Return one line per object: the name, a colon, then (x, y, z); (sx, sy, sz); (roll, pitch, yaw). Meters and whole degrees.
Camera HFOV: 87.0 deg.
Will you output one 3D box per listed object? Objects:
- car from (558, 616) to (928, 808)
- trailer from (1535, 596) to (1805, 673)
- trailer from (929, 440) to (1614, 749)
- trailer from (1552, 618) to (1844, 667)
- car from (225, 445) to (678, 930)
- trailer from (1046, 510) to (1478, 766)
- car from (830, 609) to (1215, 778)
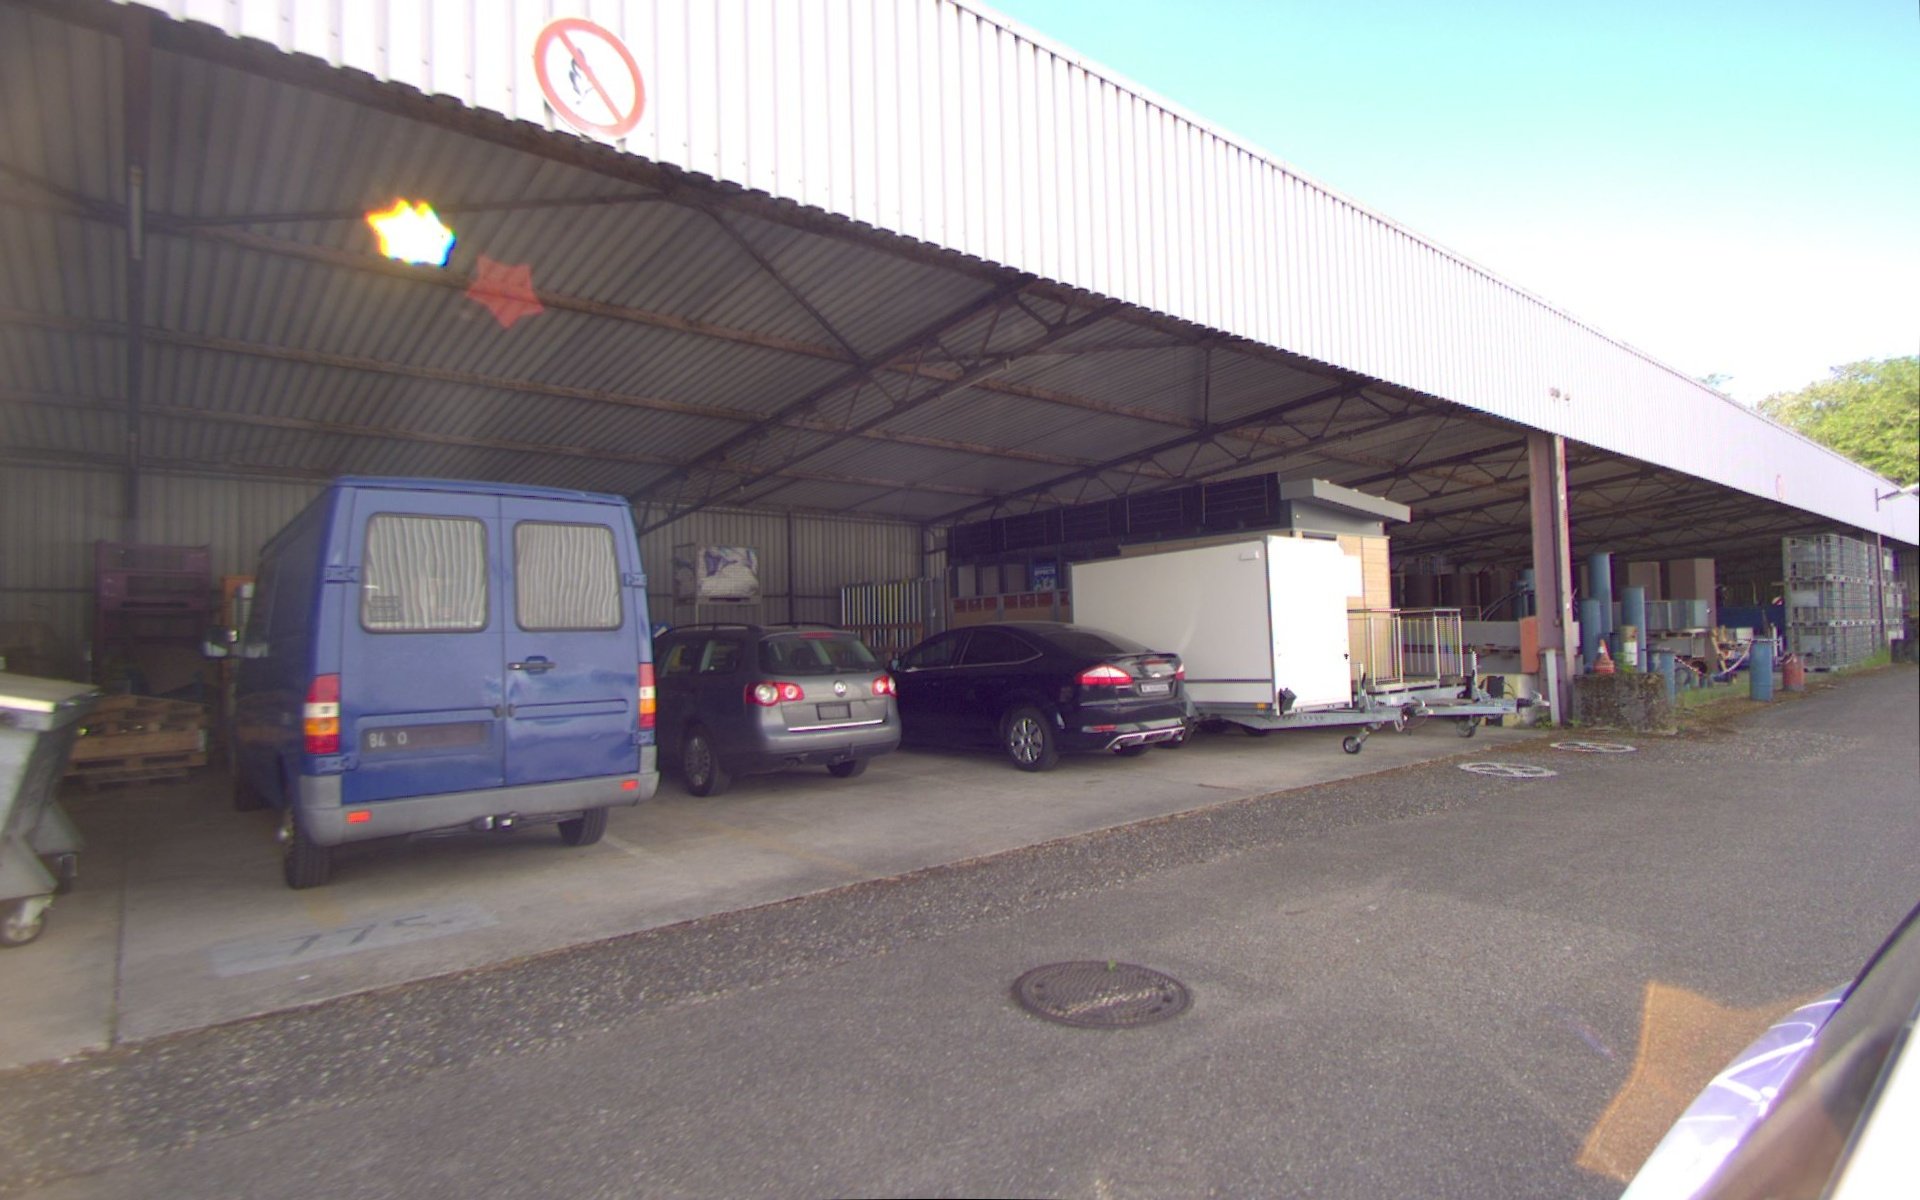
car: (-2.307, 0.964, 10.039); (1.759, 1.492, 3.988); (0, -3, -44)
trailer: (16.693, 0.823, 24.037); (1.994, 1.650, 4.874); (0, -2, -41)
trailer: (3.737, 0.113, 15.456); (2.803, 3.257, 10.054); (0, -2, -40)
trailer: (19.018, 1.109, 26.380); (1.993, 1.134, 5.830); (1, -2, -41)
car: (-4.064, 0.521, 7.494); (1.964, 2.356, 4.987); (0, -3, -39)
trailer: (3.280, 0.440, 12.072); (1.792, 2.422, 4.826); (0, -2, -35)
car: (0.499, 0.926, 11.361); (1.746, 1.515, 4.333); (0, -2, -42)
